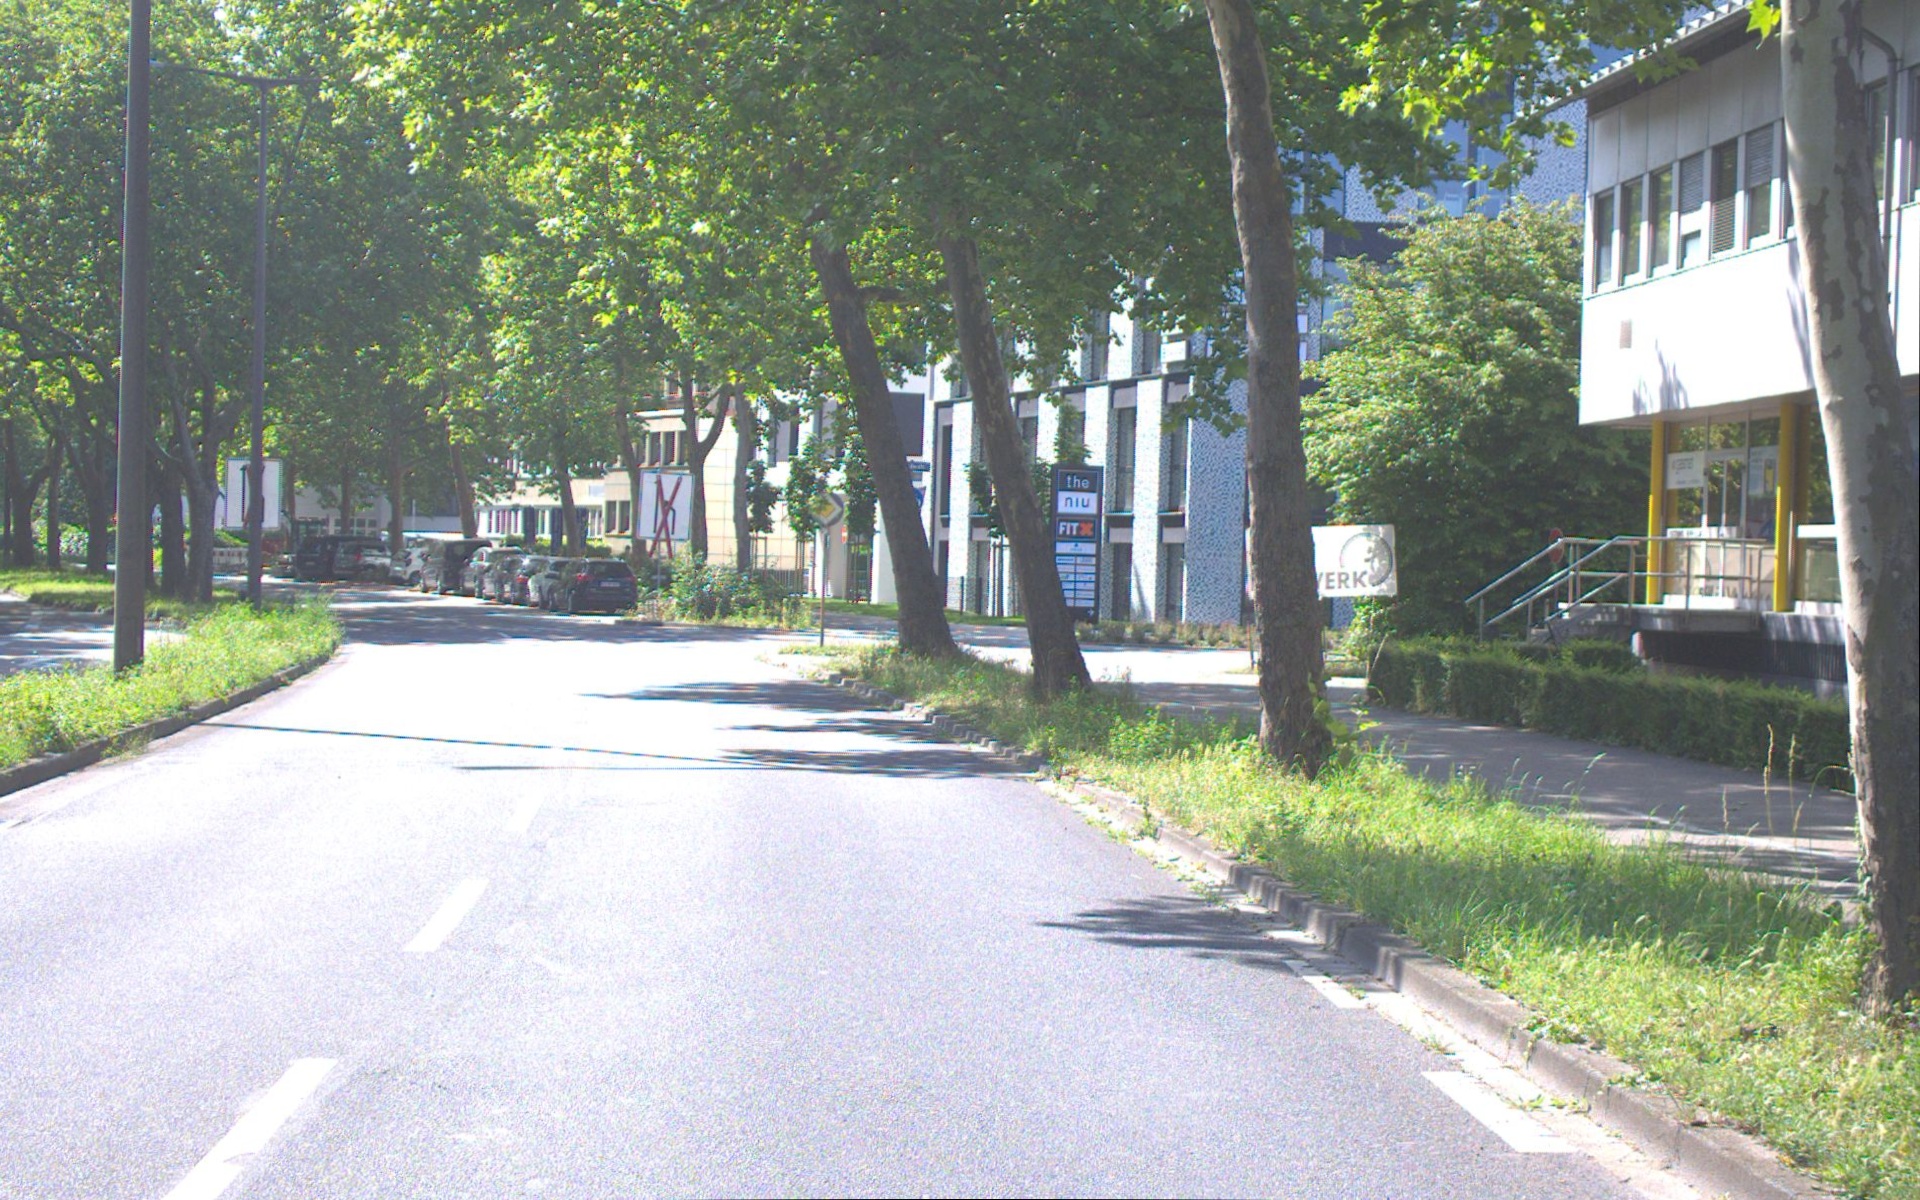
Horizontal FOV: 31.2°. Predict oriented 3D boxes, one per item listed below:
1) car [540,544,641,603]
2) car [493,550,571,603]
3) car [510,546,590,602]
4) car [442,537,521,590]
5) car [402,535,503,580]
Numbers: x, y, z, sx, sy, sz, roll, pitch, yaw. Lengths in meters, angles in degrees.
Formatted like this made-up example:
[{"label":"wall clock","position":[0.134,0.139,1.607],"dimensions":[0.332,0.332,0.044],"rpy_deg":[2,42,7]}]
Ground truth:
[{"label":"car","position":[-9.815,-0.719,91.050],"dimensions":[1.706,1.482,4.720],"rpy_deg":[0,1,-18]},{"label":"car","position":[-12.664,-0.713,101.609],"dimensions":[1.706,1.450,4.657],"rpy_deg":[1,1,-14]},{"label":"car","position":[-11.514,-0.750,96.361],"dimensions":[1.706,1.482,4.102],"rpy_deg":[1,1,-14]},{"label":"car","position":[-15.799,-1.228,113.375],"dimensions":[1.706,1.664,4.535],"rpy_deg":[1,1,-19]},{"label":"car","position":[-19.571,-1.634,132.504],"dimensions":[3.551,1.634,1.659],"rpy_deg":[1,0,-21]}]
